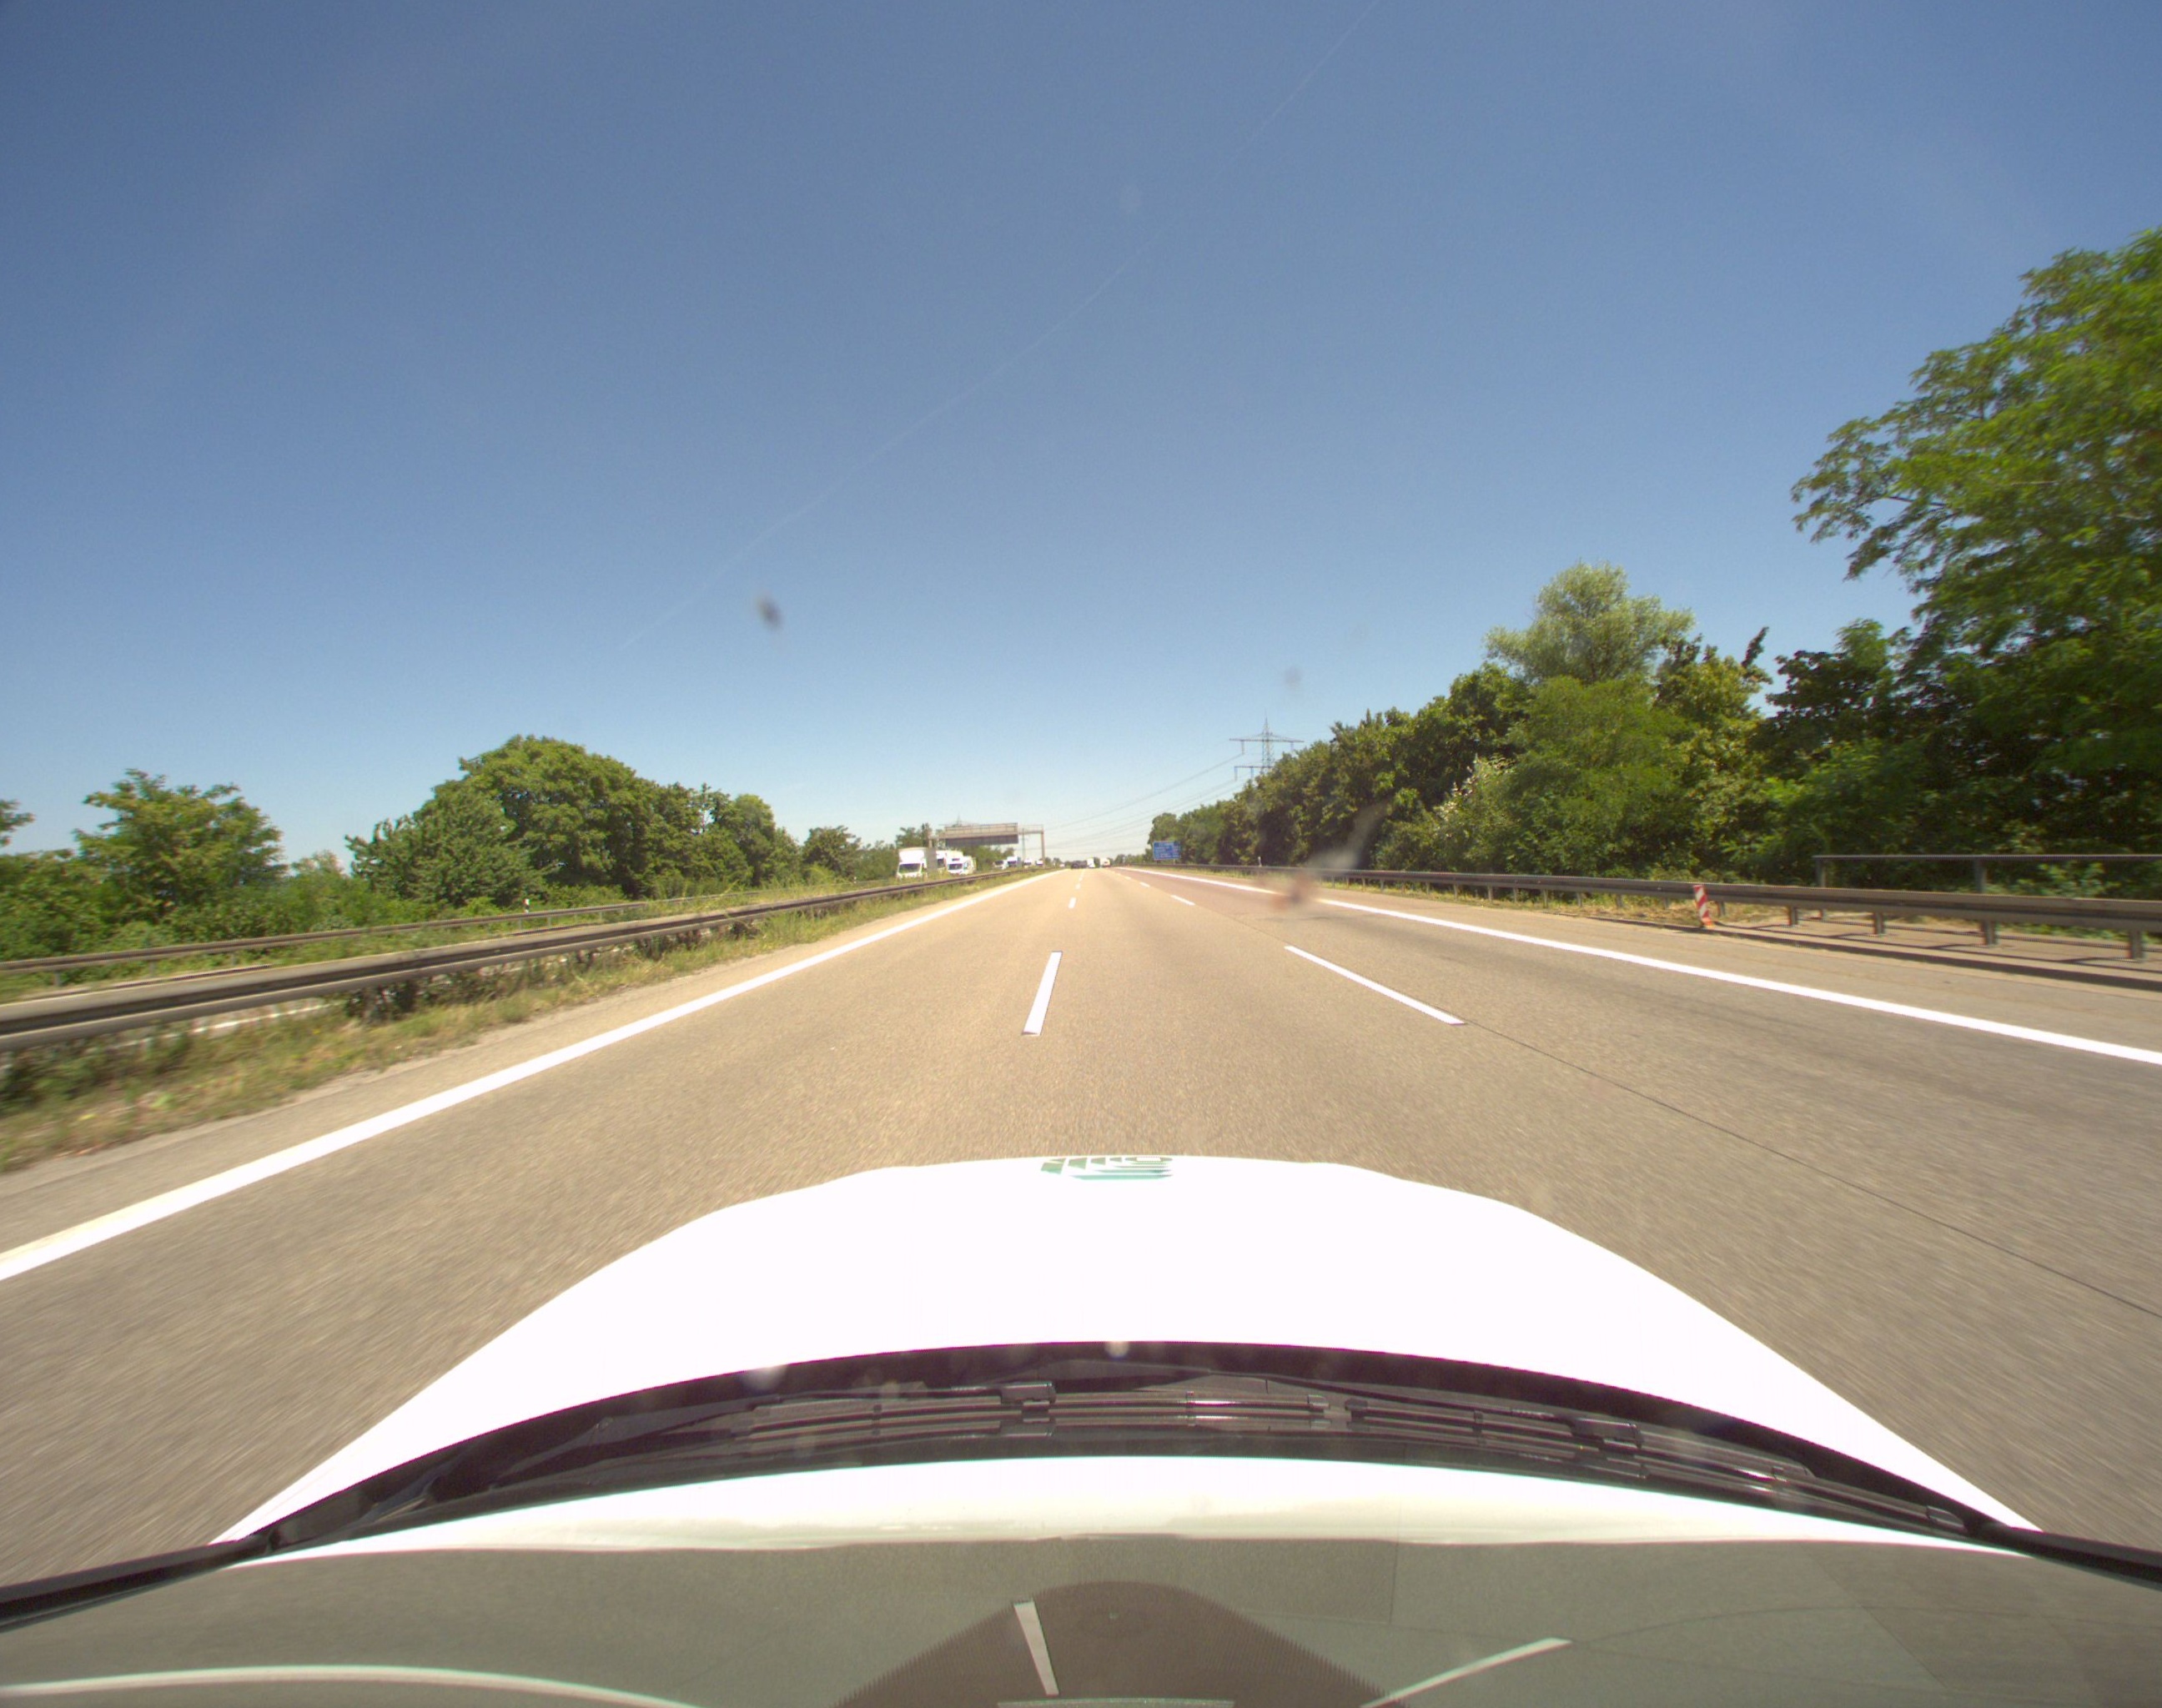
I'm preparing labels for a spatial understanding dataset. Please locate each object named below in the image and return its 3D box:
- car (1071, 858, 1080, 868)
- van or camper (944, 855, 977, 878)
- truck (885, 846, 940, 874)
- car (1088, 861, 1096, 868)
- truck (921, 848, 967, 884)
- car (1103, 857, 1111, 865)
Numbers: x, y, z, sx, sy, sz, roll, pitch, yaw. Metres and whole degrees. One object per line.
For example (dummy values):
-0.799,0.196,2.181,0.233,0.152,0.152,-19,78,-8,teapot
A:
-1.255,2.031,185.065,1.785,2.014,3.888,-1,0,1,car
-14.575,1.493,98.941,2.459,2.560,7.811,-3,0,2,van or camper
-13.610,0.493,66.494,2.719,2.067,7.140,-3,0,2,truck
3.493,3.176,250.077,2.167,1.929,4.616,-3,-1,4,car
-19.132,1.622,115.135,3.206,4.377,17.190,-6,0,0,truck
7.193,1.814,221.820,1.987,2.014,3.999,-3,-1,0,car
